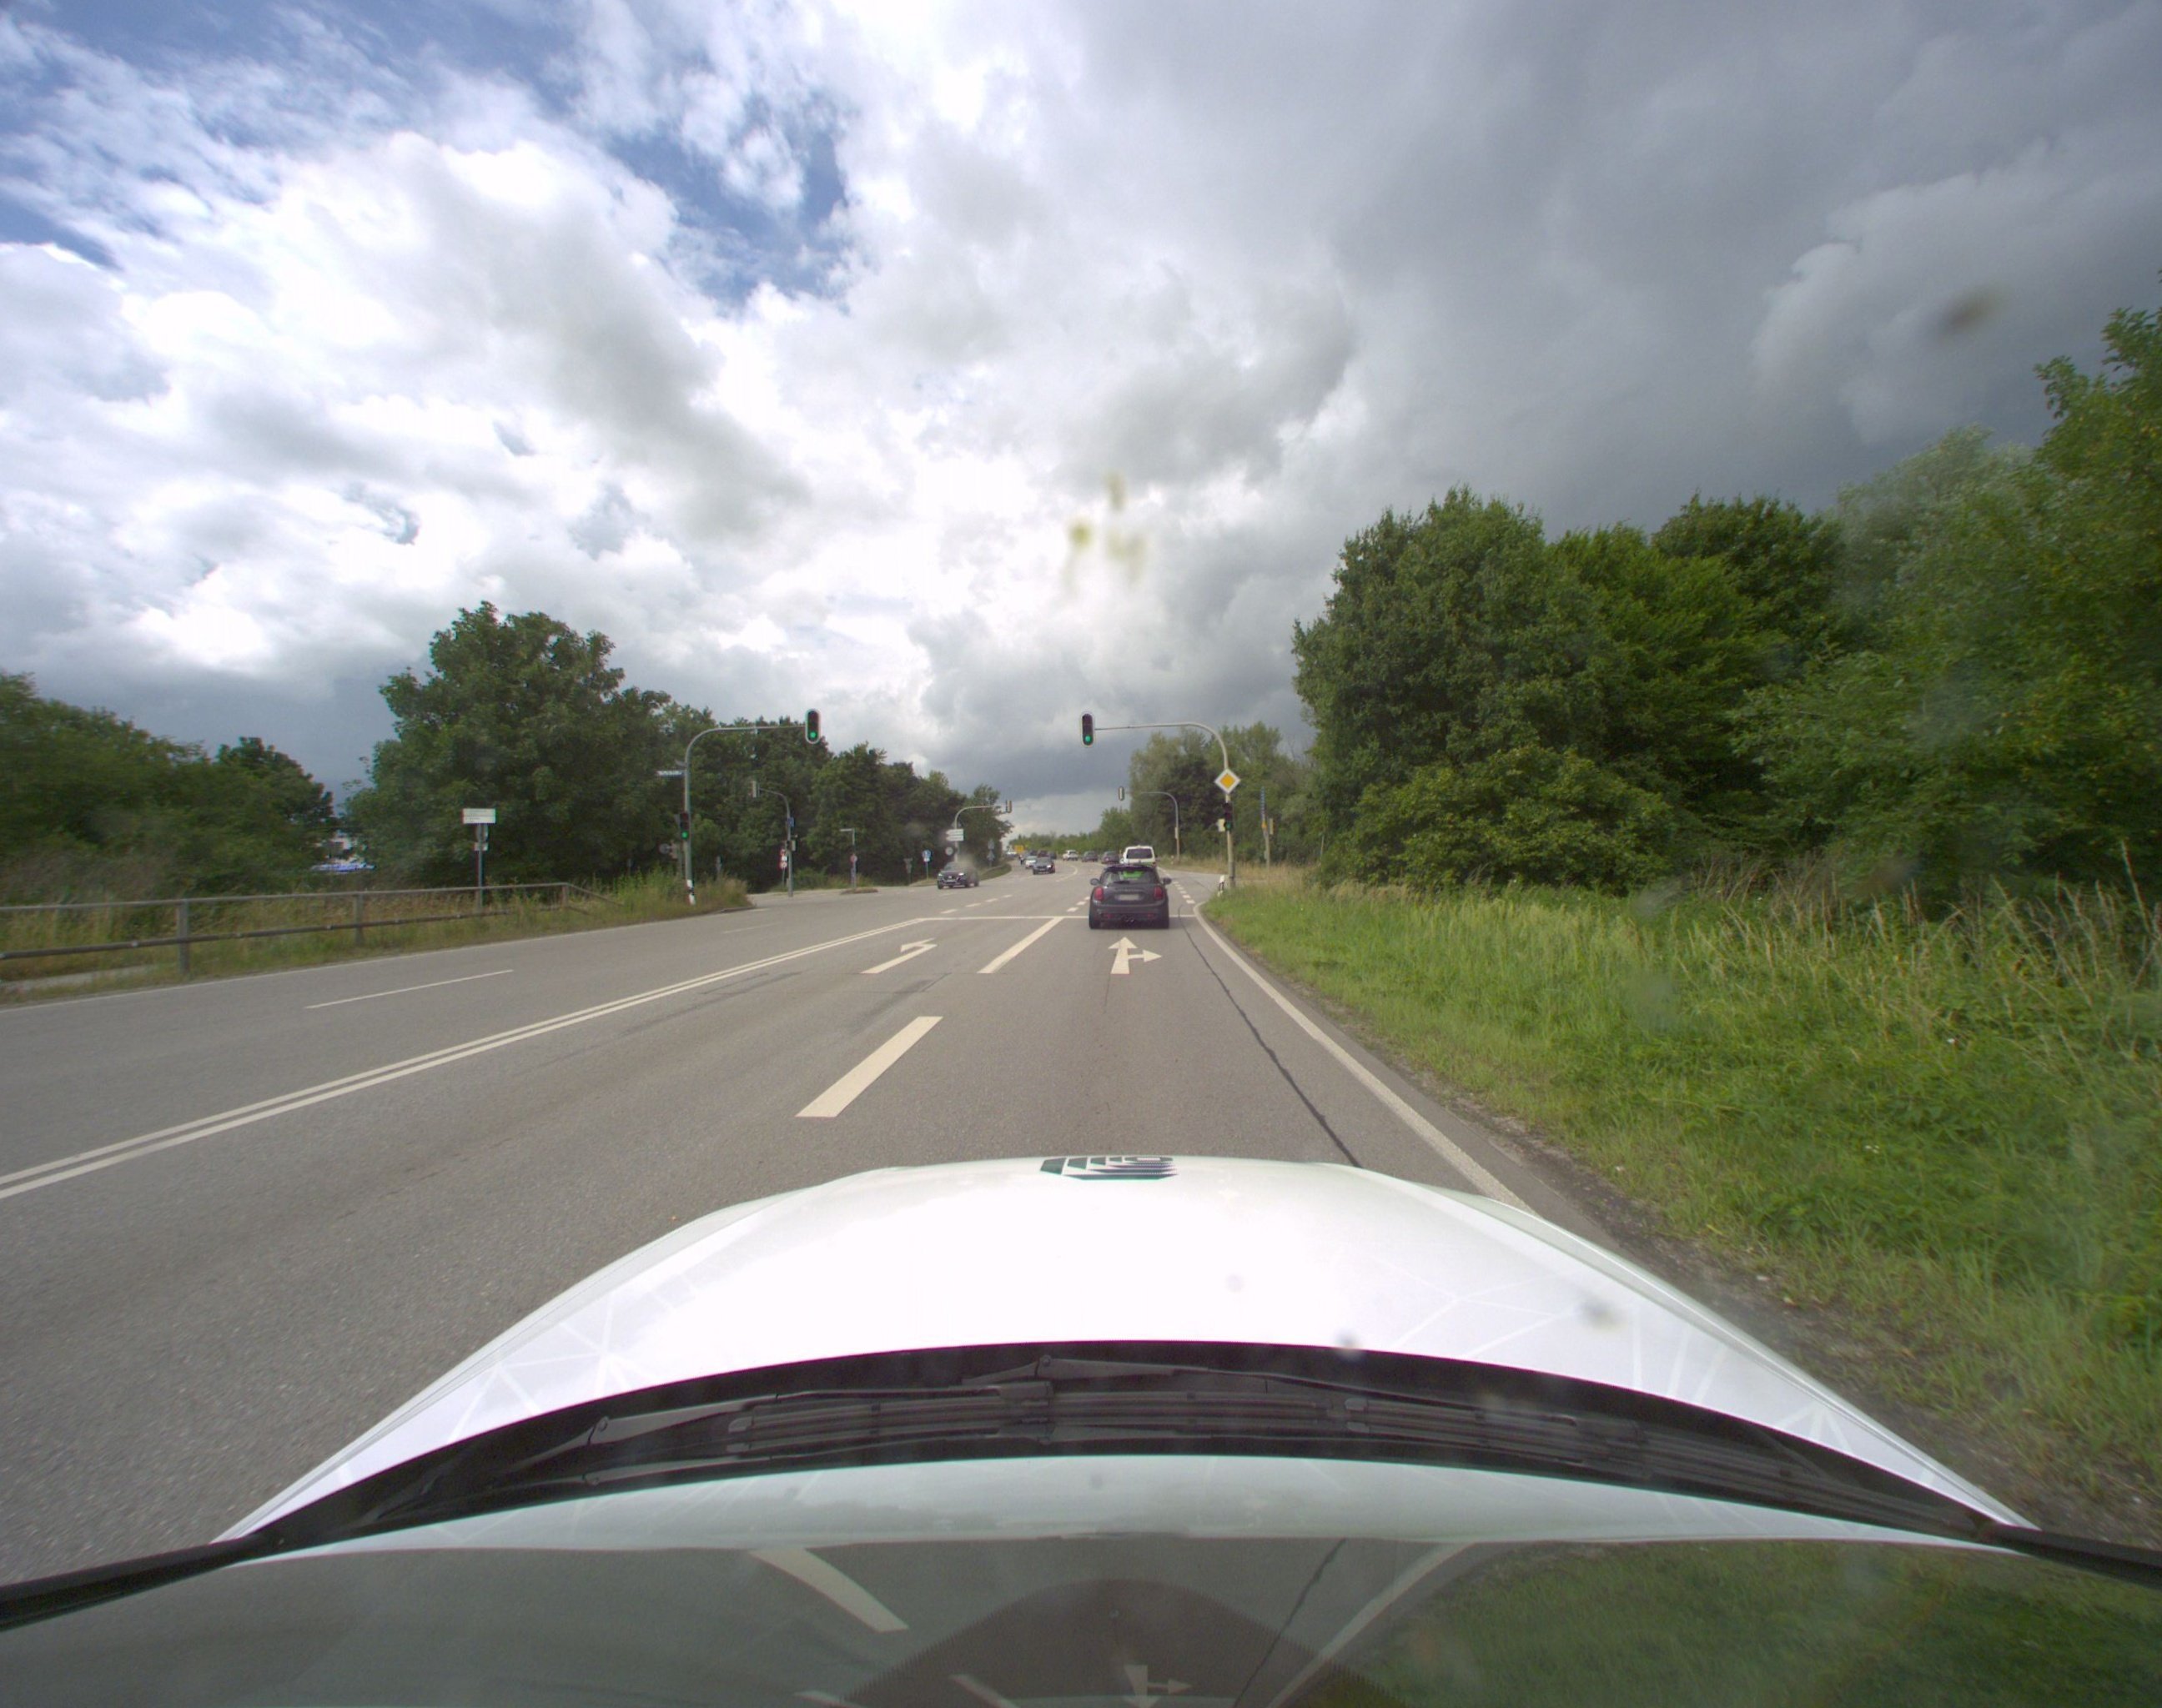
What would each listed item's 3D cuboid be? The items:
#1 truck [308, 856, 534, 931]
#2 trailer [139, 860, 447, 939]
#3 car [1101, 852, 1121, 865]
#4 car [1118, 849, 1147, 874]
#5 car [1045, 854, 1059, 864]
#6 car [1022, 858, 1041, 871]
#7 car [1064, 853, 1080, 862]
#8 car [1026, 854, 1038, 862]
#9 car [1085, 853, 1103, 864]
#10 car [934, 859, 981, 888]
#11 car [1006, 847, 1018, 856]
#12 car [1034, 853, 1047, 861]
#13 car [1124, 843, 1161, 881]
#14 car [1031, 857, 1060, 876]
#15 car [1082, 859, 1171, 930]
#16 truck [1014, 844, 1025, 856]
[{"bbox_3d":[-31.180,1.797,38.788,7.905,3.037,2.881,-2,0,-6],"label":"truck"},{"bbox_3d":[-36.550,2.022,38.177,10.706,3.037,2.881,-2,0,-6],"label":"trailer"},{"bbox_3d":[3.497,0.501,96.371,1.988,1.476,4.482,-1,-1,-2],"label":"car"},{"bbox_3d":[3.790,0.550,59.914,1.985,1.684,4.003,-2,-1,3],"label":"car"},{"bbox_3d":[-5.402,0.943,149.728,1.994,1.696,4.469,-1,-1,-10],"label":"car"},{"bbox_3d":[-6.061,1.264,100.672,1.721,1.505,4.352,-2,0,4],"label":"car"},{"bbox_3d":[-1.503,0.584,131.749,1.993,1.476,4.471,-1,-1,-9],"label":"car"},{"bbox_3d":[-10.935,0.806,180.471,1.995,1.696,4.466,-1,-1,-13],"label":"car"},{"bbox_3d":[1.823,0.595,114.539,1.991,1.476,4.477,-1,-1,-5],"label":"car"},{"bbox_3d":[-7.213,1.130,47.895,1.783,1.573,4.005,-2,0,4],"label":"car"},{"bbox_3d":[-12.967,-0.486,152.202,1.992,1.690,3.989,-2,1,-8],"label":"car"},{"bbox_3d":[-8.191,0.620,163.851,1.994,1.696,4.469,-1,-1,-10],"label":"car"},{"bbox_3d":[3.512,0.430,46.199,1.835,1.986,3.849,-1,1,7],"label":"car"},{"bbox_3d":[-3.247,1.143,75.278,1.779,1.530,4.913,-4,-1,7],"label":"car"},{"bbox_3d":[1.058,0.859,18.946,1.837,1.428,3.844,-1,0,3],"label":"car"},{"bbox_3d":[-16.583,-0.965,217.725,2.713,2.898,8.752,-1,-2,-5],"label":"truck"}]
